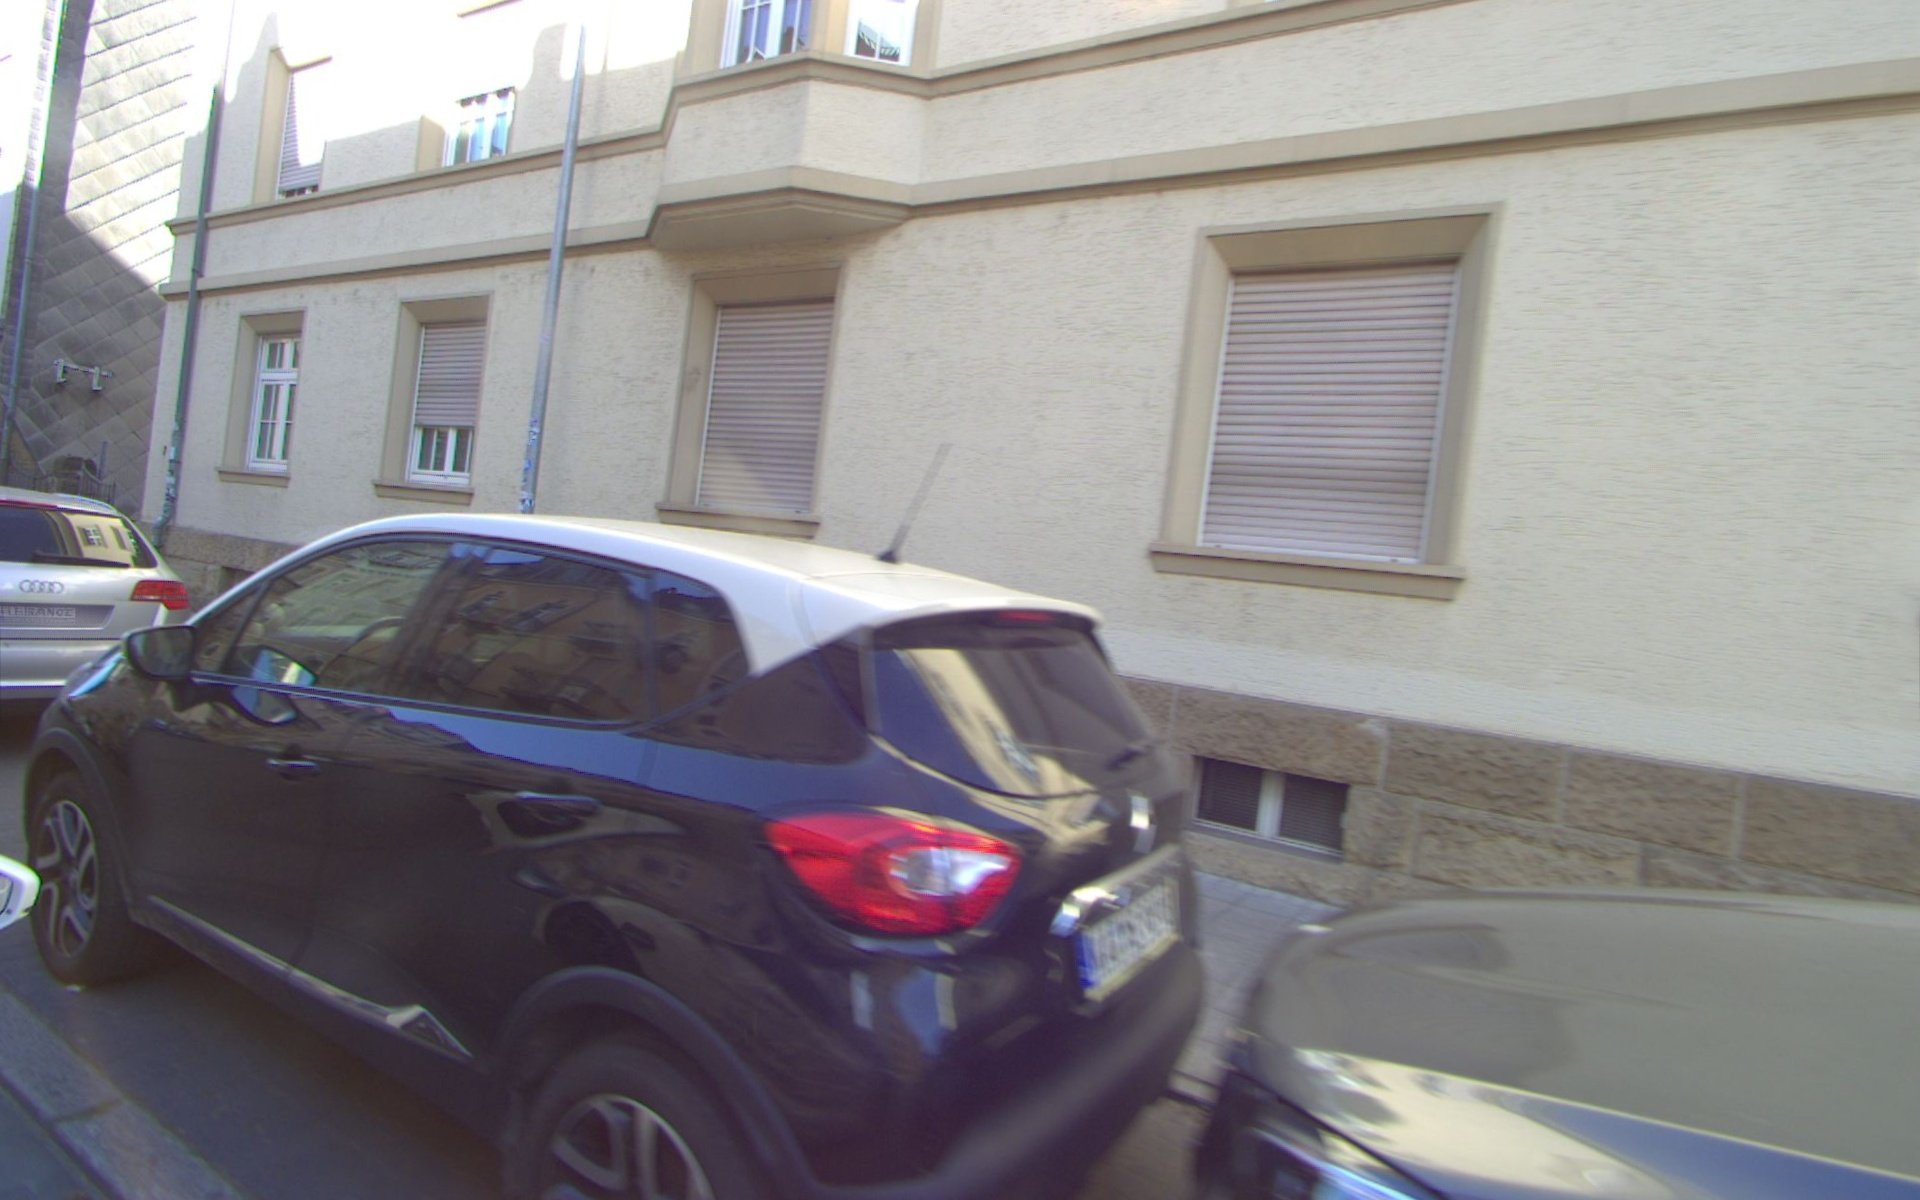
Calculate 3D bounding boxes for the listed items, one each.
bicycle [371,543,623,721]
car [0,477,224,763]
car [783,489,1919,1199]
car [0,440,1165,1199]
[{"bbox_3d":[-3.980,0.253,8.633,1.921,1.215,0.832,8,0,26],"label":"bicycle"},{"bbox_3d":[-6.629,-0.103,6.373,4.025,1.482,1.655,8,0,31],"label":"car"},{"bbox_3d":[2.062,1.006,0.901,4.362,1.685,1.789,8,0,33],"label":"car"},{"bbox_3d":[-1.541,0.468,3.301,3.850,1.565,1.681,8,1,33],"label":"car"}]
